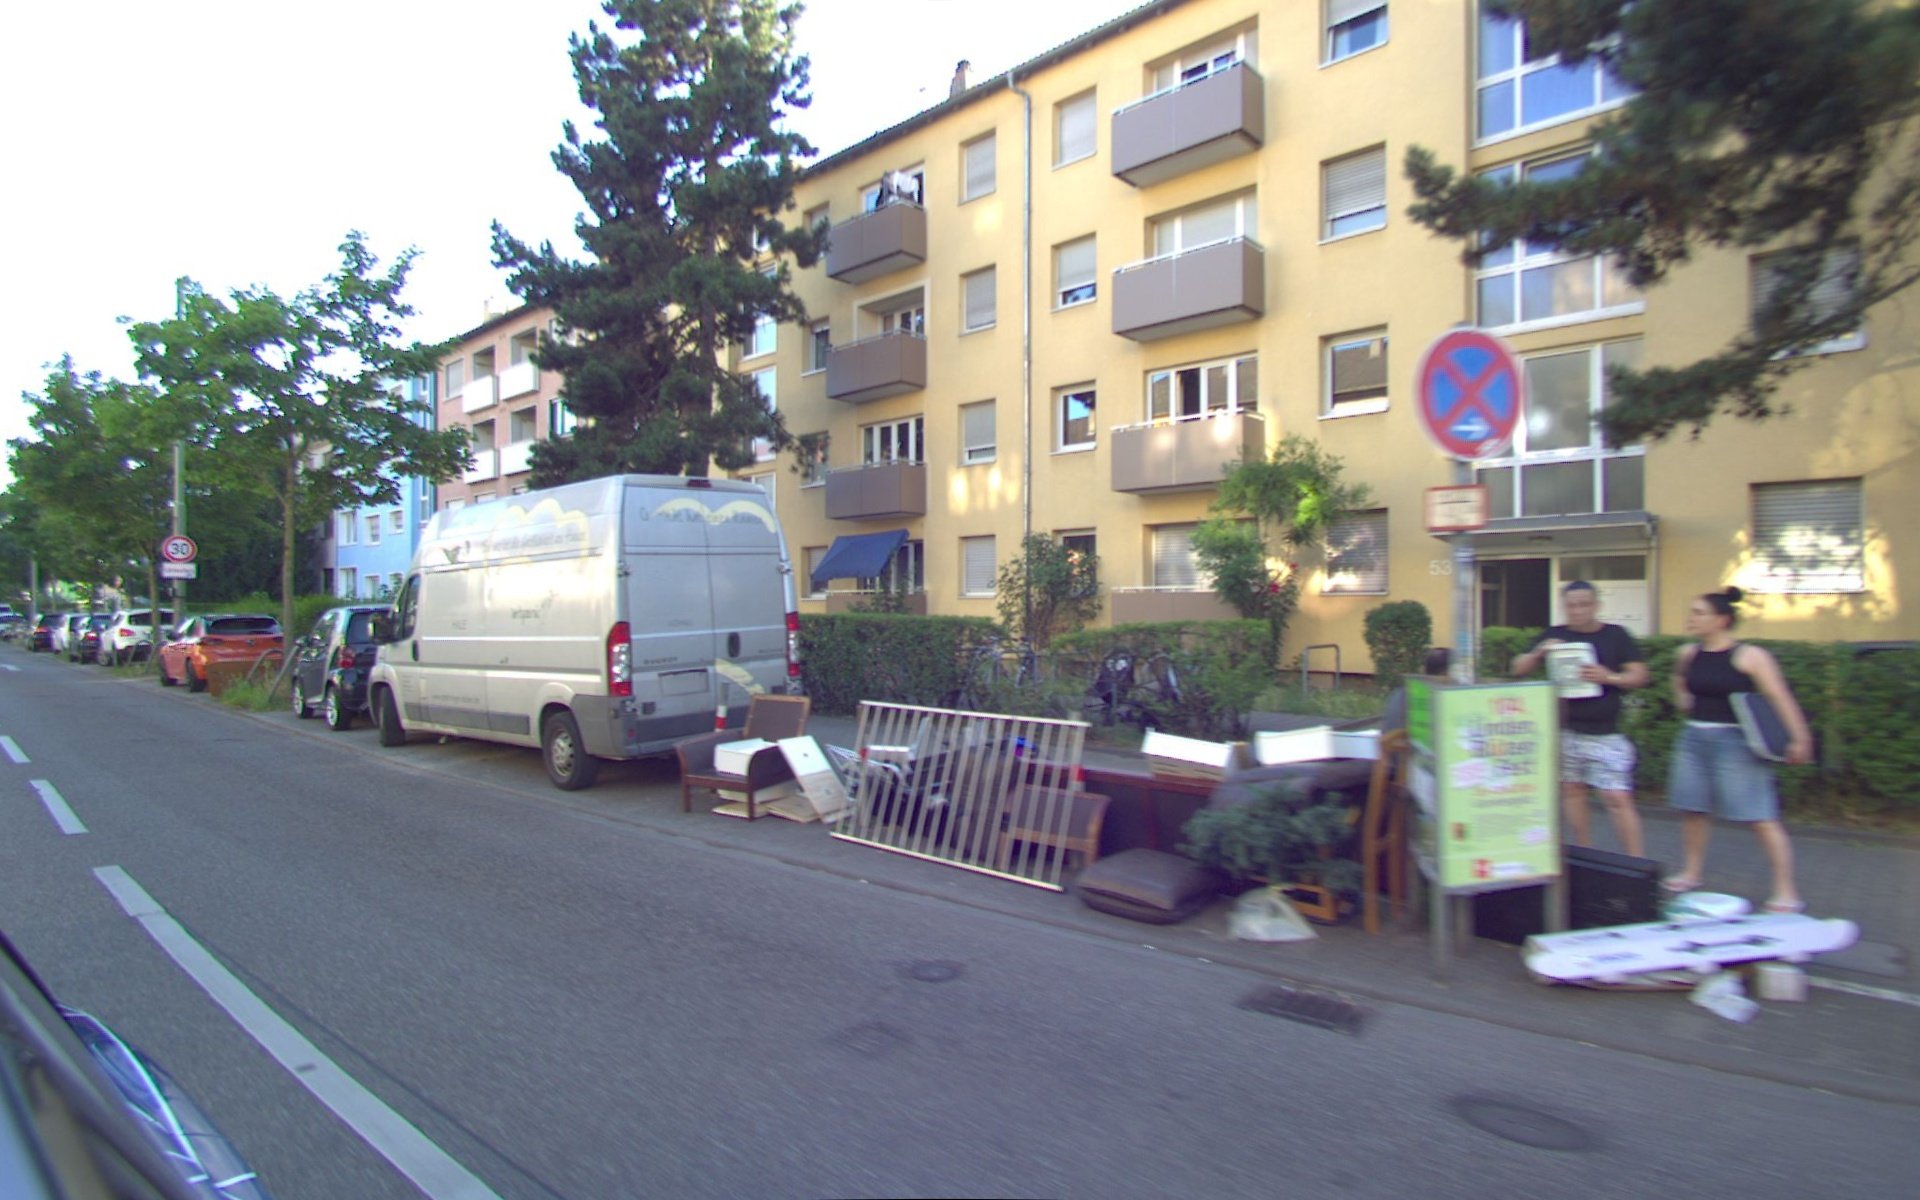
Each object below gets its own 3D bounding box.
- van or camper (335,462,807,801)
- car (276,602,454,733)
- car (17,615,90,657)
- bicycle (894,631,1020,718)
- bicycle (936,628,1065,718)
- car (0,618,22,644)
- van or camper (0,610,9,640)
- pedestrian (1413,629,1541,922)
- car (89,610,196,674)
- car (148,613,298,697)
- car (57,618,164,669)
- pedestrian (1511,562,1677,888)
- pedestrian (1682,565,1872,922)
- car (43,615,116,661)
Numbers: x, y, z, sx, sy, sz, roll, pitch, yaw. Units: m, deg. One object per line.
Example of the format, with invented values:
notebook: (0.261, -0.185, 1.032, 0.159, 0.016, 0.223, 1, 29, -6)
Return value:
van or camper: (-4.405, 0.255, 10.745, 6.012, 2.683, 2.015, -1, 1, 41)
car: (-8.132, 0.839, 13.761, 2.763, 1.560, 1.388, -1, 1, 45)
car: (-35.595, 1.371, 39.693, 4.317, 1.529, 1.817, -1, 0, 44)
bicycle: (-0.015, 0.939, 13.225, 0.590, 0.989, 1.739, -1, 0, 44)
bicycle: (0.533, 0.881, 12.710, 0.590, 0.989, 1.765, -1, 0, 44)
car: (-56.070, 1.804, 59.128, 3.883, 1.454, 1.661, -2, 0, 45)
van or camper: (-67.168, 1.715, 69.891, 4.863, 2.029, 1.785, -1, -1, 42)
pedestrian: (2.685, 0.857, 5.246, 0.480, 1.388, 0.553, -1, 0, 38)
car: (-22.624, 1.106, 27.949, 4.186, 1.600, 1.757, -1, 0, 43)
car: (-14.725, 1.032, 20.137, 3.923, 1.463, 1.698, -1, 0, 43)
car: (-26.387, 1.286, 31.383, 4.458, 1.459, 1.972, -1, -1, 43)
pedestrian: (3.497, 0.642, 5.586, 0.724, 1.664, 0.475, -1, -1, 37)
pedestrian: (4.139, 0.673, 5.175, 0.696, 1.664, 0.599, -1, -1, 37)
car: (-31.676, 1.320, 36.369, 3.641, 1.503, 1.574, 0, 0, 42)
